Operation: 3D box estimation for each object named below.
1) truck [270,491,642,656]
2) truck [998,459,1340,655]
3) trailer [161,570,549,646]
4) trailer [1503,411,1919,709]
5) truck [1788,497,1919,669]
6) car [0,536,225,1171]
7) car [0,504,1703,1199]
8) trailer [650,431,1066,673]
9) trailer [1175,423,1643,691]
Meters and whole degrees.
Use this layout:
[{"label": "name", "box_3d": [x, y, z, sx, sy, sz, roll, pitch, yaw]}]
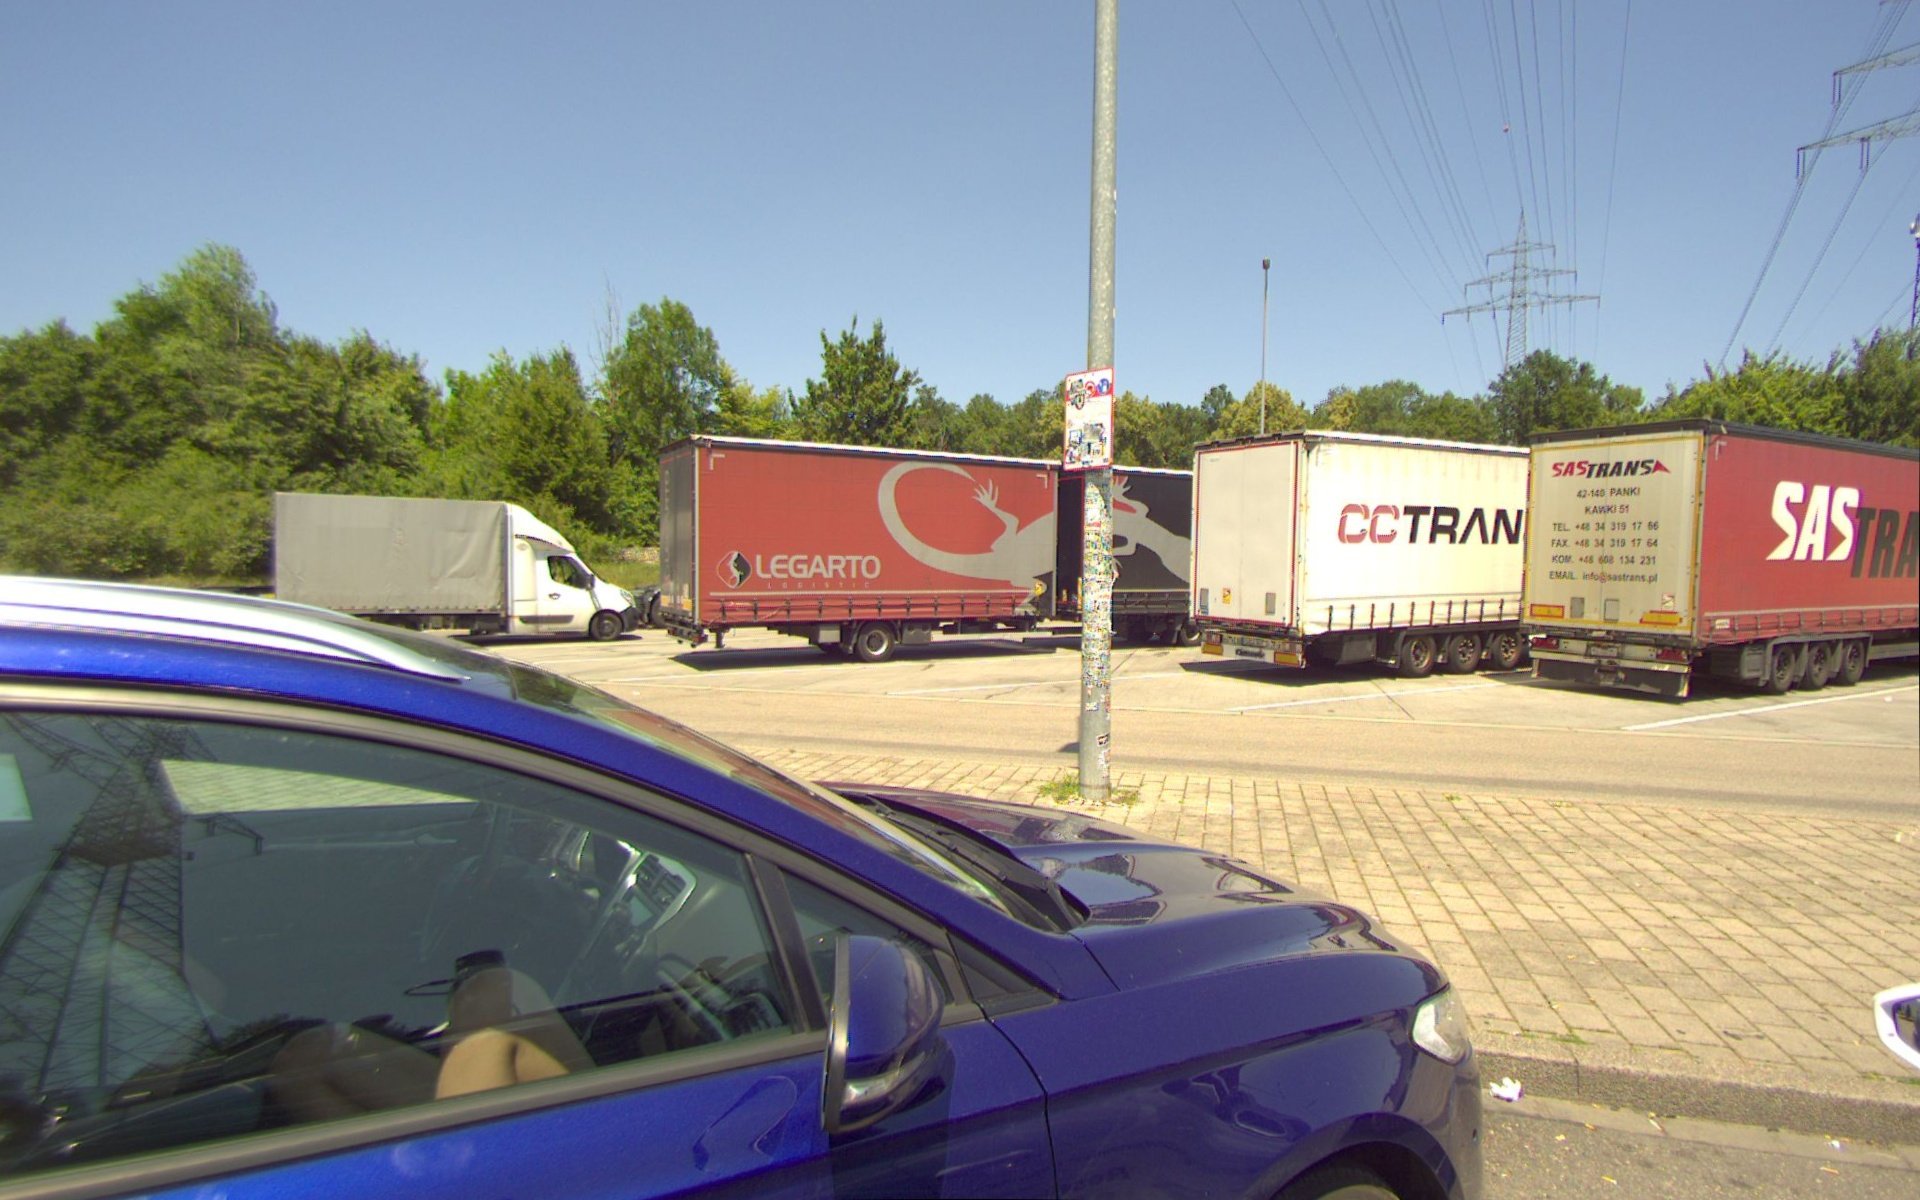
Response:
[{"label": "truck", "box_3d": [-11.249, -0.623, 22.989, 7.187, 3.289, 2.694, -1, 3, -29]}, {"label": "truck", "box_3d": [5.262, -0.997, 24.533, 8.586, 4.127, 2.693, -1, 3, -30]}, {"label": "trailer", "box_3d": [-14.760, 0.104, 25.229, 8.007, 1.648, 2.199, -1, 3, -30]}, {"label": "trailer", "box_3d": [15.456, -0.673, 18.605, 13.599, 4.127, 2.807, -1, 3, -31]}, {"label": "truck", "box_3d": [21.248, -0.400, 22.041, 5.903, 3.409, 2.798, -1, 3, -30]}, {"label": "car", "box_3d": [-4.425, 0.584, 2.084, 4.522, 1.526, 1.743, 0, 2, -32]}, {"label": "car", "box_3d": [-0.983, 0.657, 1.447, 4.522, 1.491, 1.743, 0, 2, -32]}, {"label": "trailer", "box_3d": [-1.891, -0.902, 20.325, 8.007, 4.127, 2.693, -1, 3, -30]}, {"label": "trailer", "box_3d": [8.962, -0.768, 19.339, 10.264, 4.158, 2.693, -1, 3, -30]}]
